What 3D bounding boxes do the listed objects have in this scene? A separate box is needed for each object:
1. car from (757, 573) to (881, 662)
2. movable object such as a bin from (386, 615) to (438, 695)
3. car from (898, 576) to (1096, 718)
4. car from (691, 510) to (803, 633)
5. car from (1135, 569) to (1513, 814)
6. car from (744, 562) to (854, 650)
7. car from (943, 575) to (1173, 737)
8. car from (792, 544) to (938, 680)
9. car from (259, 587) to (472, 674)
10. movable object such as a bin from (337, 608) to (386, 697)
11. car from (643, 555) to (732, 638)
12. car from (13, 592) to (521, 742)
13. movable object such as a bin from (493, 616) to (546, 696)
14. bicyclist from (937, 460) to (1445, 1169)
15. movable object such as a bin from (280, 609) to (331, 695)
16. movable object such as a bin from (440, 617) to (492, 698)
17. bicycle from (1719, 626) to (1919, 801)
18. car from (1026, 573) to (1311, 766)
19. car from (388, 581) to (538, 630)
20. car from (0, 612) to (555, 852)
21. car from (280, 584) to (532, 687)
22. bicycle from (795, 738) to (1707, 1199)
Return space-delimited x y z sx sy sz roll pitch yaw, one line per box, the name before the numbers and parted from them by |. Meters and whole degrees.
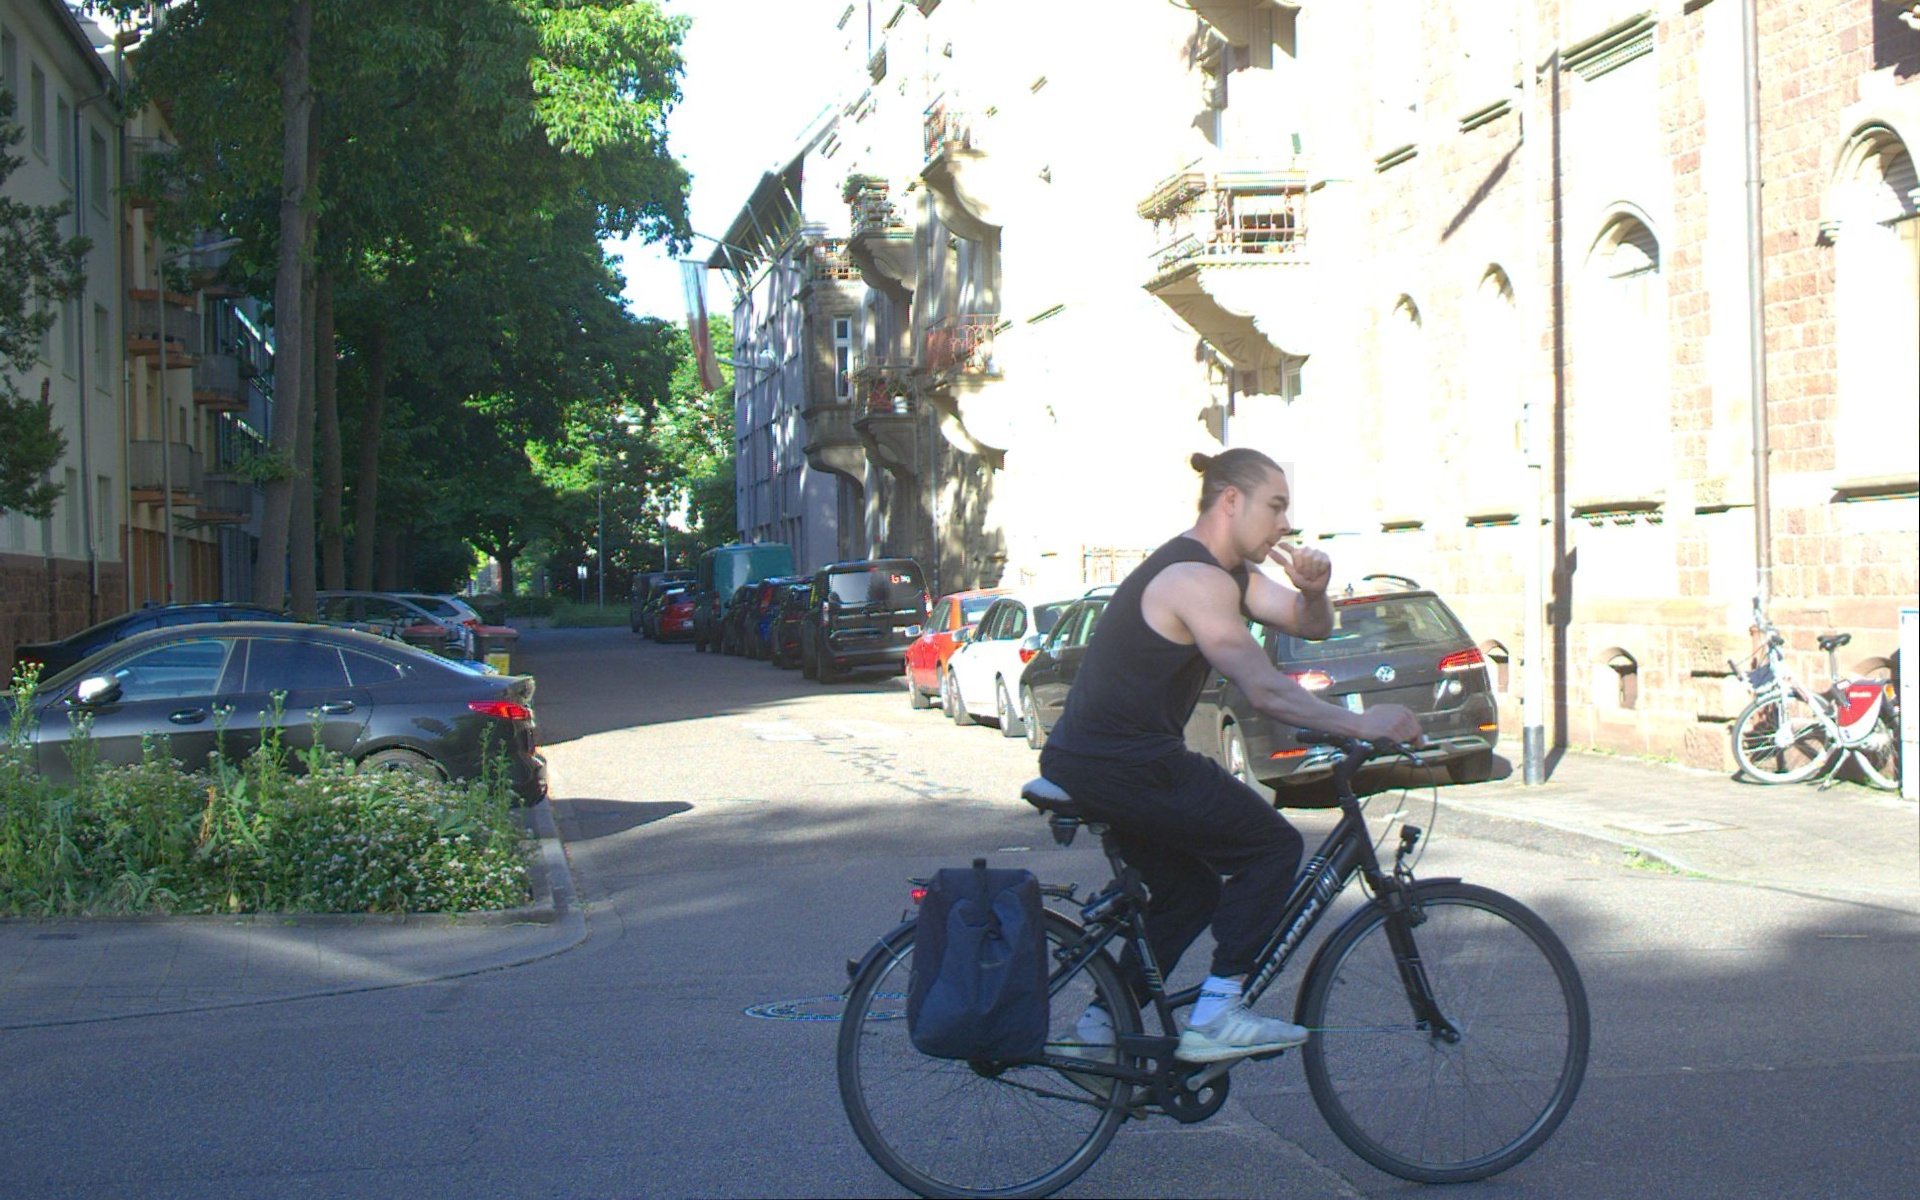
car | -2.533 0.291 60.891 1.802 1.509 4.001 0 0 -8
movable object such as a bin | -7.239 0.720 45.427 0.629 1.049 0.568 0 0 -14
car | 0.379 0.511 40.164 1.737 1.576 4.001 0 0 -8
car | -4.866 -0.638 77.843 2.165 2.681 4.792 0 0 -8
car | 2.467 0.581 24.270 1.737 1.576 4.001 0 0 -8
car | -3.202 0.104 67.782 1.802 1.673 4.001 0 0 -8
car | 0.952 0.531 35.592 1.737 1.576 4.001 0 0 -8
car | -1.502 0.166 52.727 1.802 1.997 4.001 0 0 -8
car | -10.929 0.542 63.262 3.800 1.570 1.710 0 0 -10
movable object such as a bin | -7.895 0.689 45.333 0.598 1.149 0.487 0 0 -14
car | -7.549 -0.096 94.788 2.165 2.229 4.792 0 0 -8
car | -6.844 0.641 34.225 4.833 1.430 1.710 0 0 -9
movable object such as a bin | -5.862 0.736 45.739 0.629 1.049 0.568 0 0 -14
bicyclist | 0.512 0.457 7.847 0.968 1.521 0.708 0 0 -17
movable object such as a bin | -8.598 0.678 45.138 0.633 1.122 0.487 0 0 -14
movable object such as a bin | -6.557 0.758 45.618 0.629 1.049 0.568 0 0 -14
bicycle | 5.244 0.665 20.801 0.514 0.994 1.576 0 0 -20
car | 1.754 0.555 30.197 1.737 1.576 4.001 0 0 -8
car | -12.948 0.136 89.491 3.800 1.236 1.710 0 0 -10
car | -4.780 0.807 22.057 4.242 1.430 2.000 0 0 -9
car | -8.656 0.538 53.603 3.800 1.570 1.710 0 0 -11
bicycle | 0.657 0.880 7.885 1.961 1.069 0.698 0 0 -15
